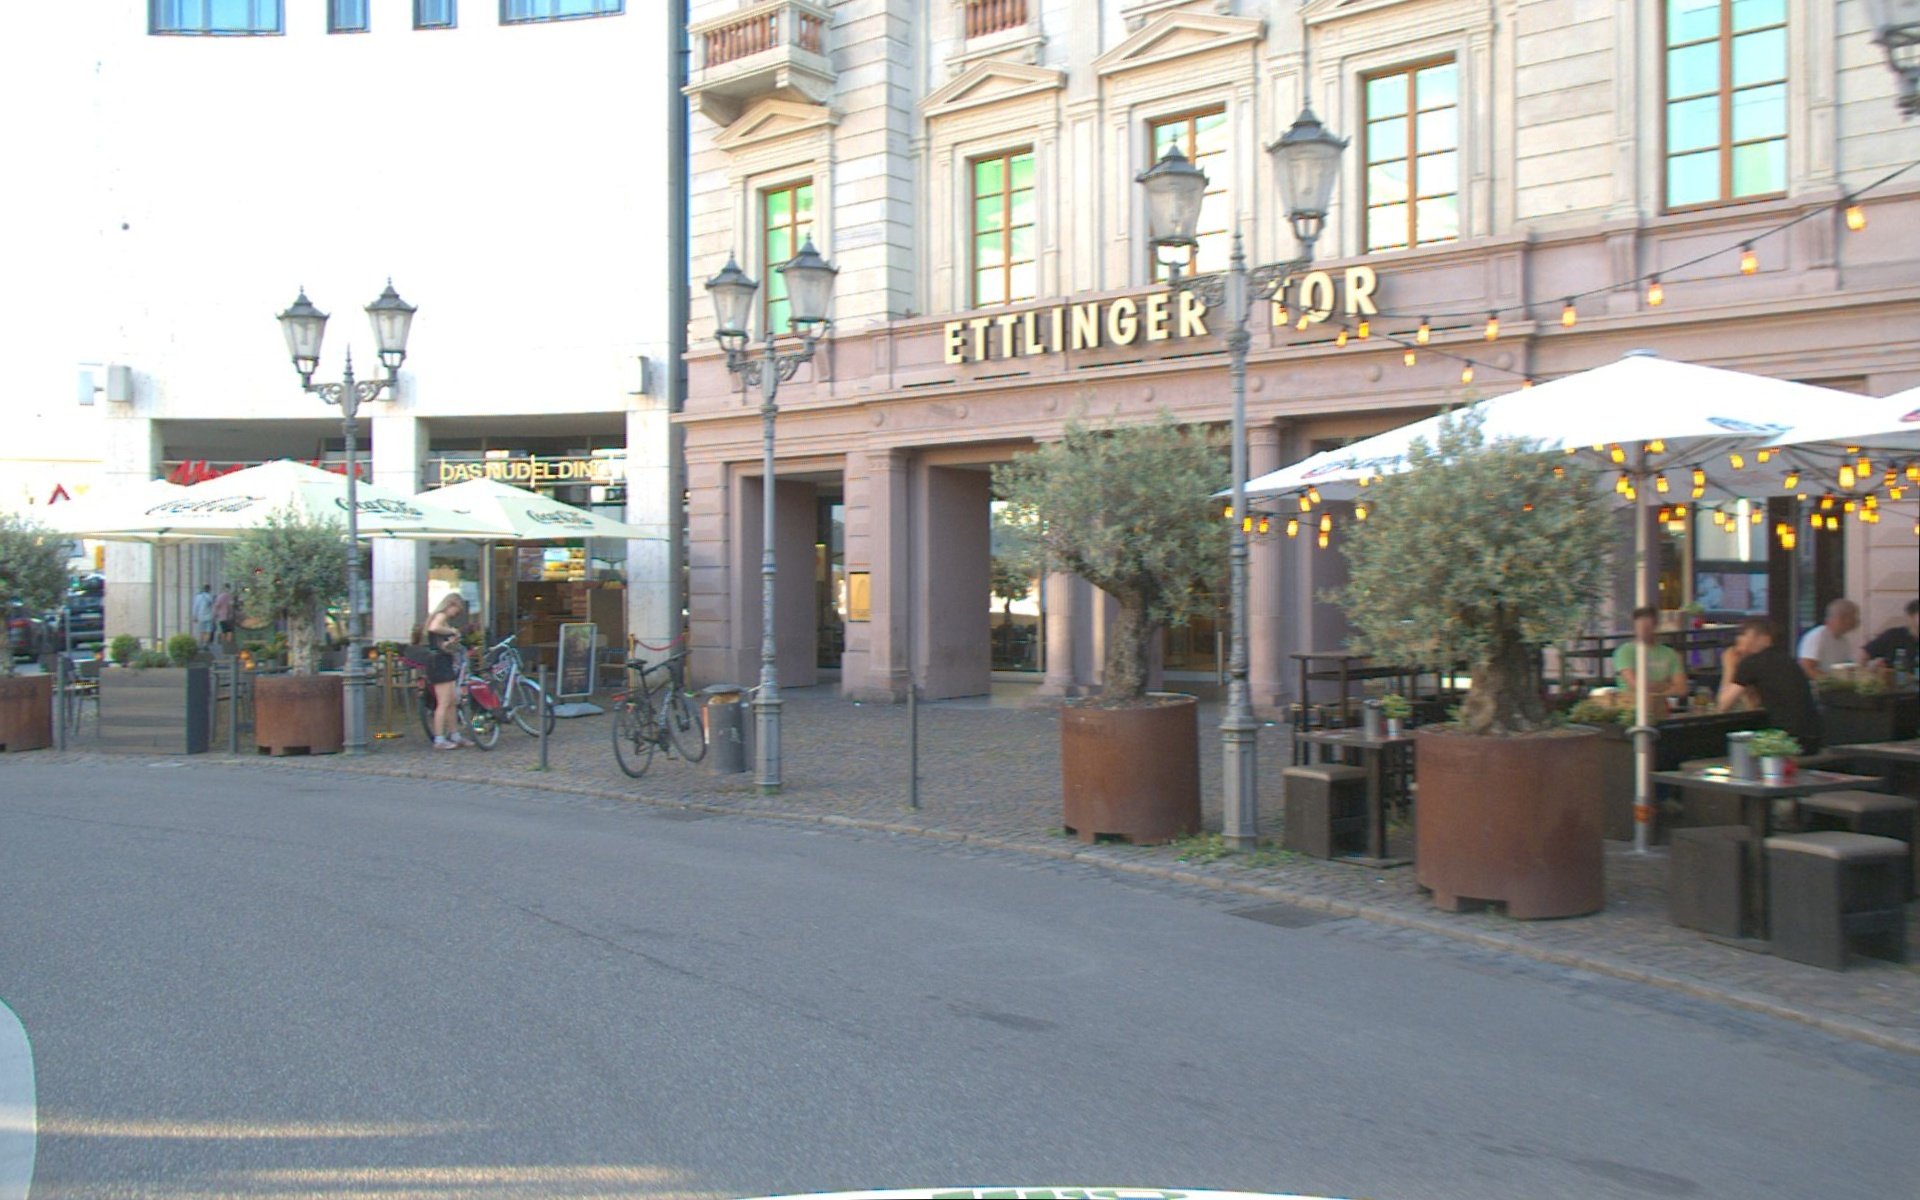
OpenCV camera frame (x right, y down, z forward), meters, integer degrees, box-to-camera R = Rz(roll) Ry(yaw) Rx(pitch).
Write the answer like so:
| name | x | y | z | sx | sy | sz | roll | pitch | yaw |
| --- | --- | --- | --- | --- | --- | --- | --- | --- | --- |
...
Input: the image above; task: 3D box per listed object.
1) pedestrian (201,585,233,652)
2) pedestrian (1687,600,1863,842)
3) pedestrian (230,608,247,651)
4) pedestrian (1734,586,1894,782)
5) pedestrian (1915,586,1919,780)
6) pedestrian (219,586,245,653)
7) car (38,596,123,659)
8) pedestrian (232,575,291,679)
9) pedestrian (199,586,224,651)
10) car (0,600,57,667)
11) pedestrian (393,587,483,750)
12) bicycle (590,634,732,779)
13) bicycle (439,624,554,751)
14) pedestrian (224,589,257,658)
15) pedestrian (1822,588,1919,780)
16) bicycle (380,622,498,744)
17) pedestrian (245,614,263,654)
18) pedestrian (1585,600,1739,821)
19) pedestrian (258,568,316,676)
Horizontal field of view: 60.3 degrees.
| name | x | y | z | sx | sy | sz | roll | pitch | yaw |
| --- | --- | --- | --- | --- | --- | --- | --- | --- | --- |
| pedestrian | -19.365 | 0.465 | 43.119 | 0.755 | 1.710 | 0.870 | 0 | 2 | -24 |
| pedestrian | 5.184 | 0.741 | 10.569 | 0.706 | 1.472 | 0.865 | 0 | 0 | 1 |
| pedestrian | -19.184 | 0.787 | 43.995 | 0.414 | 1.116 | 0.522 | 0 | 2 | -24 |
| pedestrian | 6.671 | 0.633 | 12.949 | 0.758 | 1.472 | 0.851 | 0 | 0 | -9 |
| pedestrian | 7.698 | 0.631 | 12.221 | 0.758 | 1.472 | 0.851 | 0 | 0 | -8 |
| pedestrian | -19.893 | 0.529 | 45.191 | 0.625 | 1.805 | 0.769 | 0 | 2 | -24 |
| car | -25.893 | 0.768 | 48.794 | 1.745 | 1.666 | 4.029 | -4 | 1 | -23 |
| pedestrian | -12.067 | 0.464 | 28.581 | 0.700 | 1.776 | 0.670 | 0 | 0 | 7 |
| pedestrian | -19.969 | 0.485 | 44.128 | 0.583 | 1.728 | 0.690 | -1 | 0 | -25 |
| car | -23.452 | 0.821 | 40.497 | 1.771 | 1.516 | 4.165 | -4 | 1 | -22 |
| pedestrian | -5.301 | 0.674 | 16.835 | 0.733 | 1.616 | 0.714 | 0 | 0 | -6 |
| bicycle | -2.743 | 0.949 | 15.383 | 0.592 | 1.147 | 1.908 | 0 | 2 | 13 |
| bicycle | -4.788 | 0.879 | 17.220 | 0.593 | 1.147 | 1.907 | 0 | 2 | 2 |
| pedestrian | -18.354 | 0.588 | 42.208 | 0.755 | 1.710 | 0.870 | 0 | 2 | -24 |
| pedestrian | 7.494 | 0.639 | 13.187 | 0.758 | 1.472 | 0.851 | 0 | 0 | -8 |
| bicycle | -5.589 | 0.859 | 17.856 | 0.593 | 1.147 | 1.907 | 0 | 2 | 2 |
| pedestrian | -18.414 | 0.881 | 43.134 | 0.414 | 1.003 | 0.522 | 0 | 2 | -24 |
| pedestrian | 4.863 | 0.738 | 11.500 | 0.706 | 1.472 | 0.865 | 0 | 0 | 1 |
| pedestrian | -11.950 | 0.386 | 29.367 | 0.700 | 1.894 | 0.670 | 0 | 0 | 9 |
